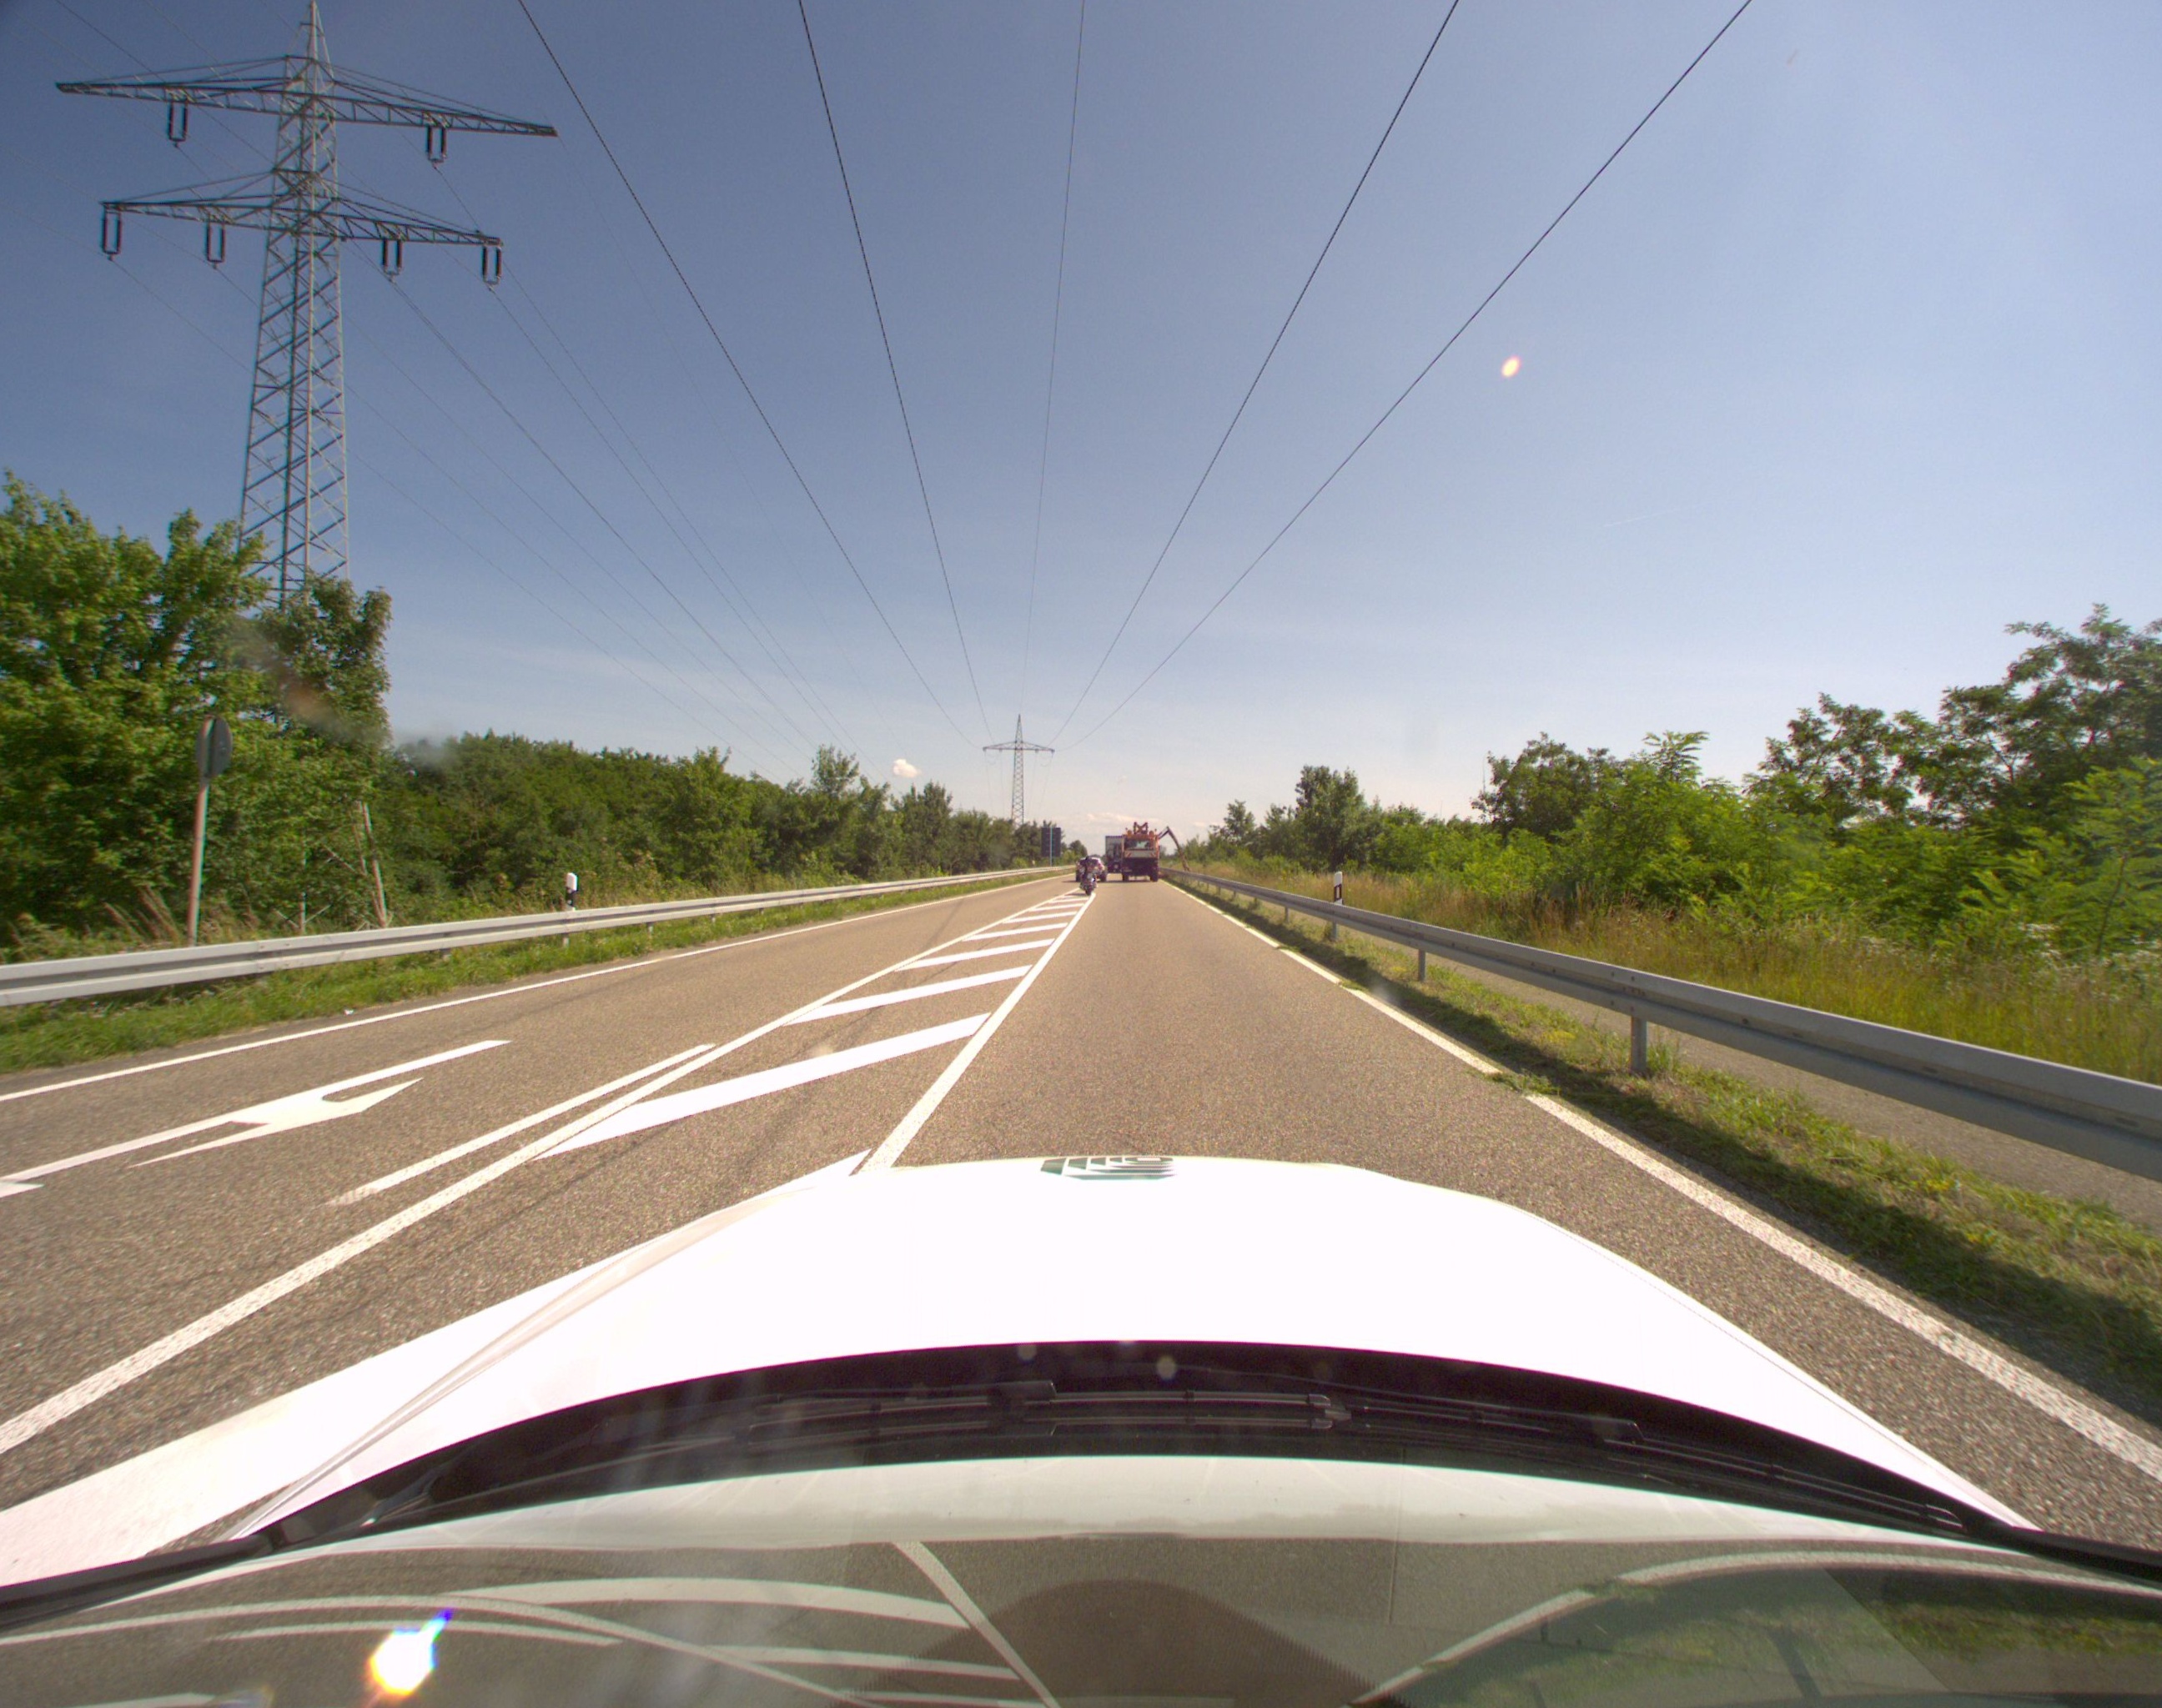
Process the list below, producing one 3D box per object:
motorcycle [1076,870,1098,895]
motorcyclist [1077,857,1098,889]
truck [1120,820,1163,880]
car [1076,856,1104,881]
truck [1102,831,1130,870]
[{"bbox_3d":[0.266,1.137,33.080,0.855,0.915,2.228,0,0,2],"label":"motorcycle"},{"bbox_3d":[0.268,0.746,33.155,0.834,1.280,0.919,0,0,1],"label":"motorcyclist"},{"bbox_3d":[3.898,-0.234,53.179,2.602,3.711,6.784,0,0,4],"label":"truck"},{"bbox_3d":[0.581,0.920,52.578,1.695,1.536,3.499,0,0,1],"label":"car"},{"bbox_3d":[4.188,-0.318,95.070,2.955,4.187,14.835,0,0,4],"label":"truck"}]
